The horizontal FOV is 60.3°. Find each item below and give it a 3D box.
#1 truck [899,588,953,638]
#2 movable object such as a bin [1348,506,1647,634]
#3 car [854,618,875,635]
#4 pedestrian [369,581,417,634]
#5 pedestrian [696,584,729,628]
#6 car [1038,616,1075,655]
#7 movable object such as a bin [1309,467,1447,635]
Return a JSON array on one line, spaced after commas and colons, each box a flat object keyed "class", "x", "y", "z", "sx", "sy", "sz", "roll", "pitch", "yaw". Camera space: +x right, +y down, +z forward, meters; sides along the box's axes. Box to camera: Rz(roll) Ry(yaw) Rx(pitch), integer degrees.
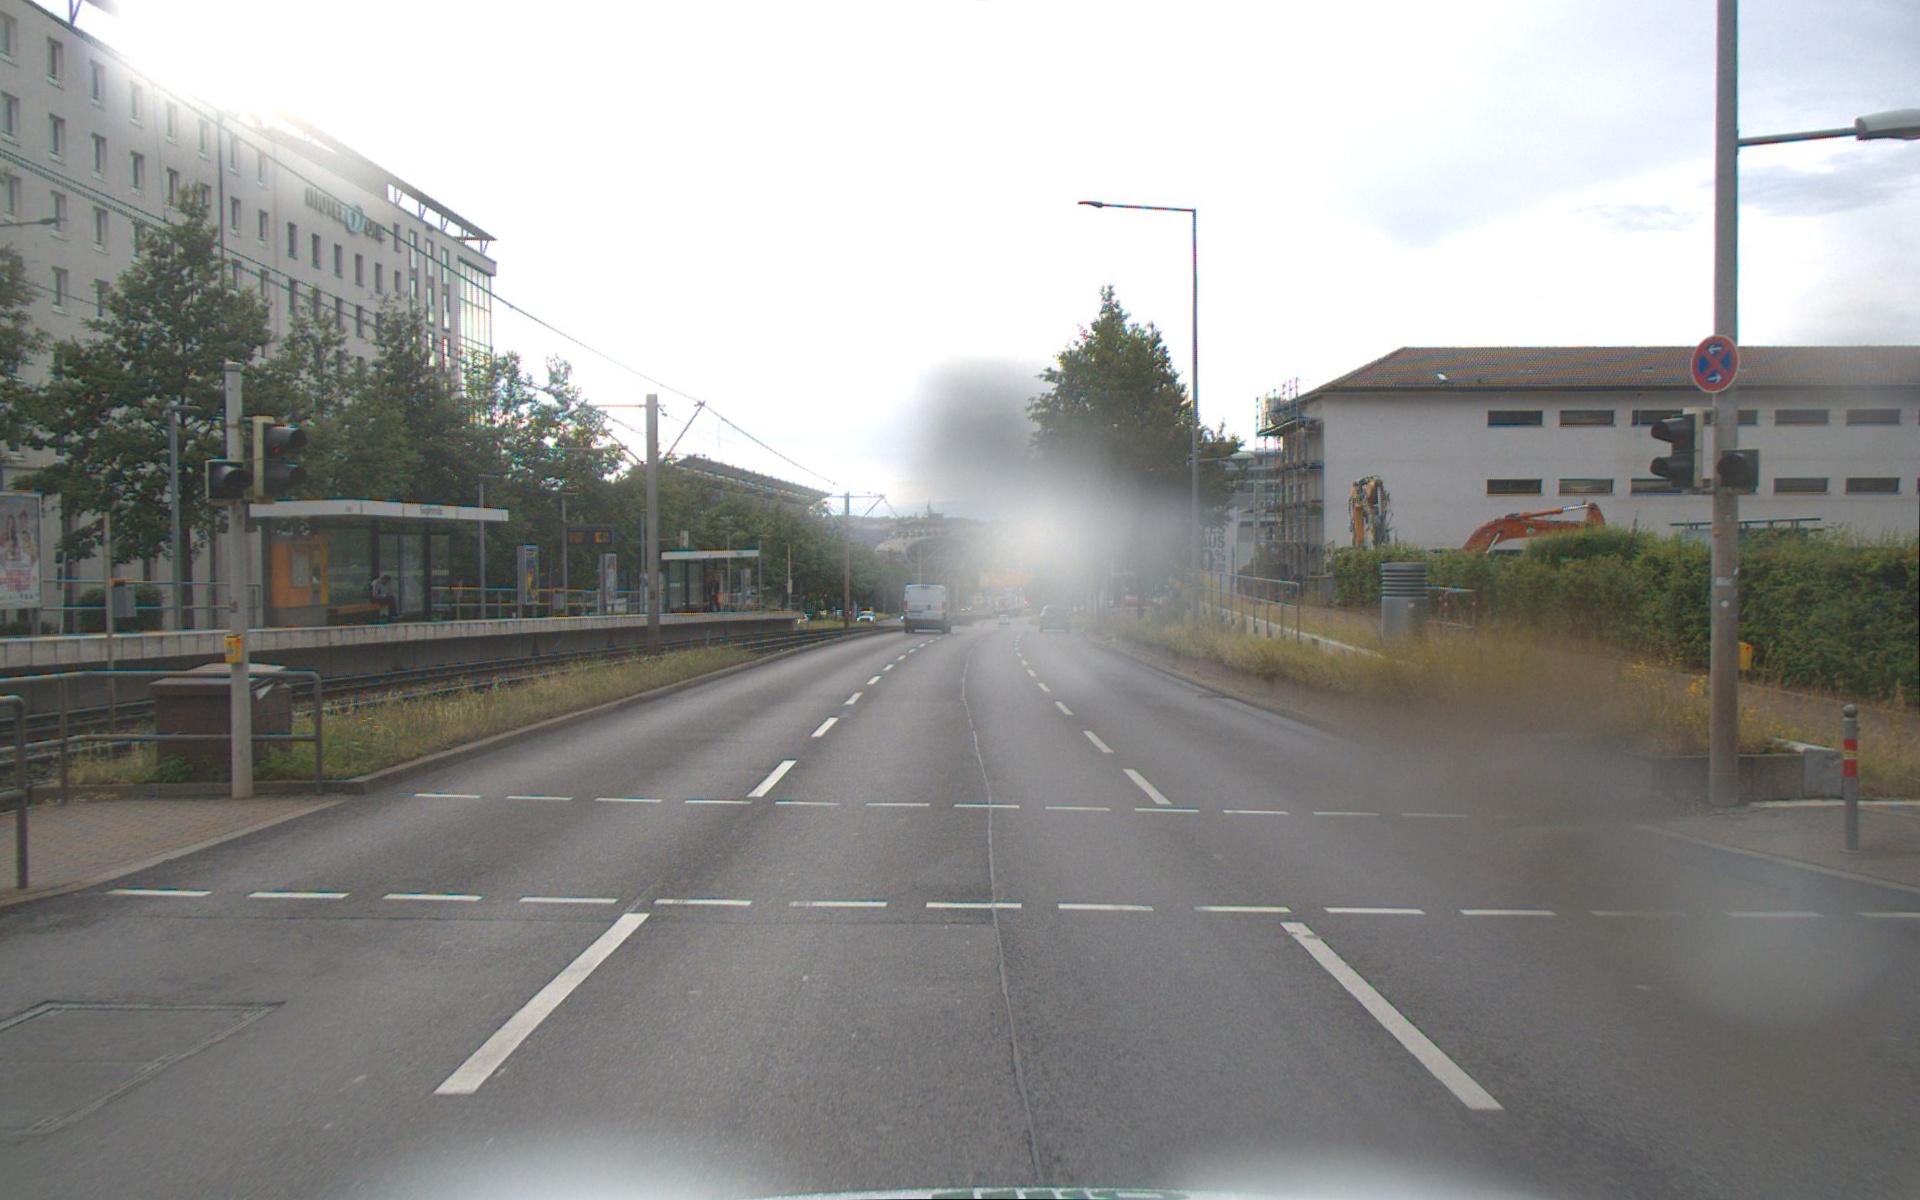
[{"class": "truck", "x": -1.596, "y": 0.652, "z": 79.597, "sx": 2.311, "sy": 2.301, "sz": 5.305, "roll": 2, "pitch": -1, "yaw": 1}, {"class": "movable object such as a bin", "x": 23.504, "y": -1.258, "z": 72.906, "sx": 11.892, "sy": 5.354, "sz": 3.789, "roll": -1, "pitch": -1, "yaw": 0}, {"class": "car", "x": -11.176, "y": 3.118, "z": 193.876, "sx": 1.952, "sy": 1.879, "sz": 5.003, "roll": -1, "pitch": -1, "yaw": 3}, {"class": "pedestrian", "x": -14.227, "y": 0.183, "z": 41.513, "sx": 0.941, "sy": 1.323, "sz": 0.684, "roll": 0, "pitch": -1, "yaw": 1}, {"class": "pedestrian", "x": -11.837, "y": 0.302, "z": 79.110, "sx": 1.239, "sy": 2.049, "sz": 1.130, "roll": 1, "pitch": -1, "yaw": 4}, {"class": "car", "x": 5.311, "y": 1.942, "z": 91.219, "sx": 1.952, "sy": 2.049, "sz": 3.935, "roll": 2, "pitch": -1, "yaw": 3}, {"class": "movable object such as a bin", "x": 15.497, "y": -1.626, "z": 62.046, "sx": 3.221, "sy": 5.784, "sz": 8.766, "roll": 1, "pitch": -1, "yaw": 3}]
